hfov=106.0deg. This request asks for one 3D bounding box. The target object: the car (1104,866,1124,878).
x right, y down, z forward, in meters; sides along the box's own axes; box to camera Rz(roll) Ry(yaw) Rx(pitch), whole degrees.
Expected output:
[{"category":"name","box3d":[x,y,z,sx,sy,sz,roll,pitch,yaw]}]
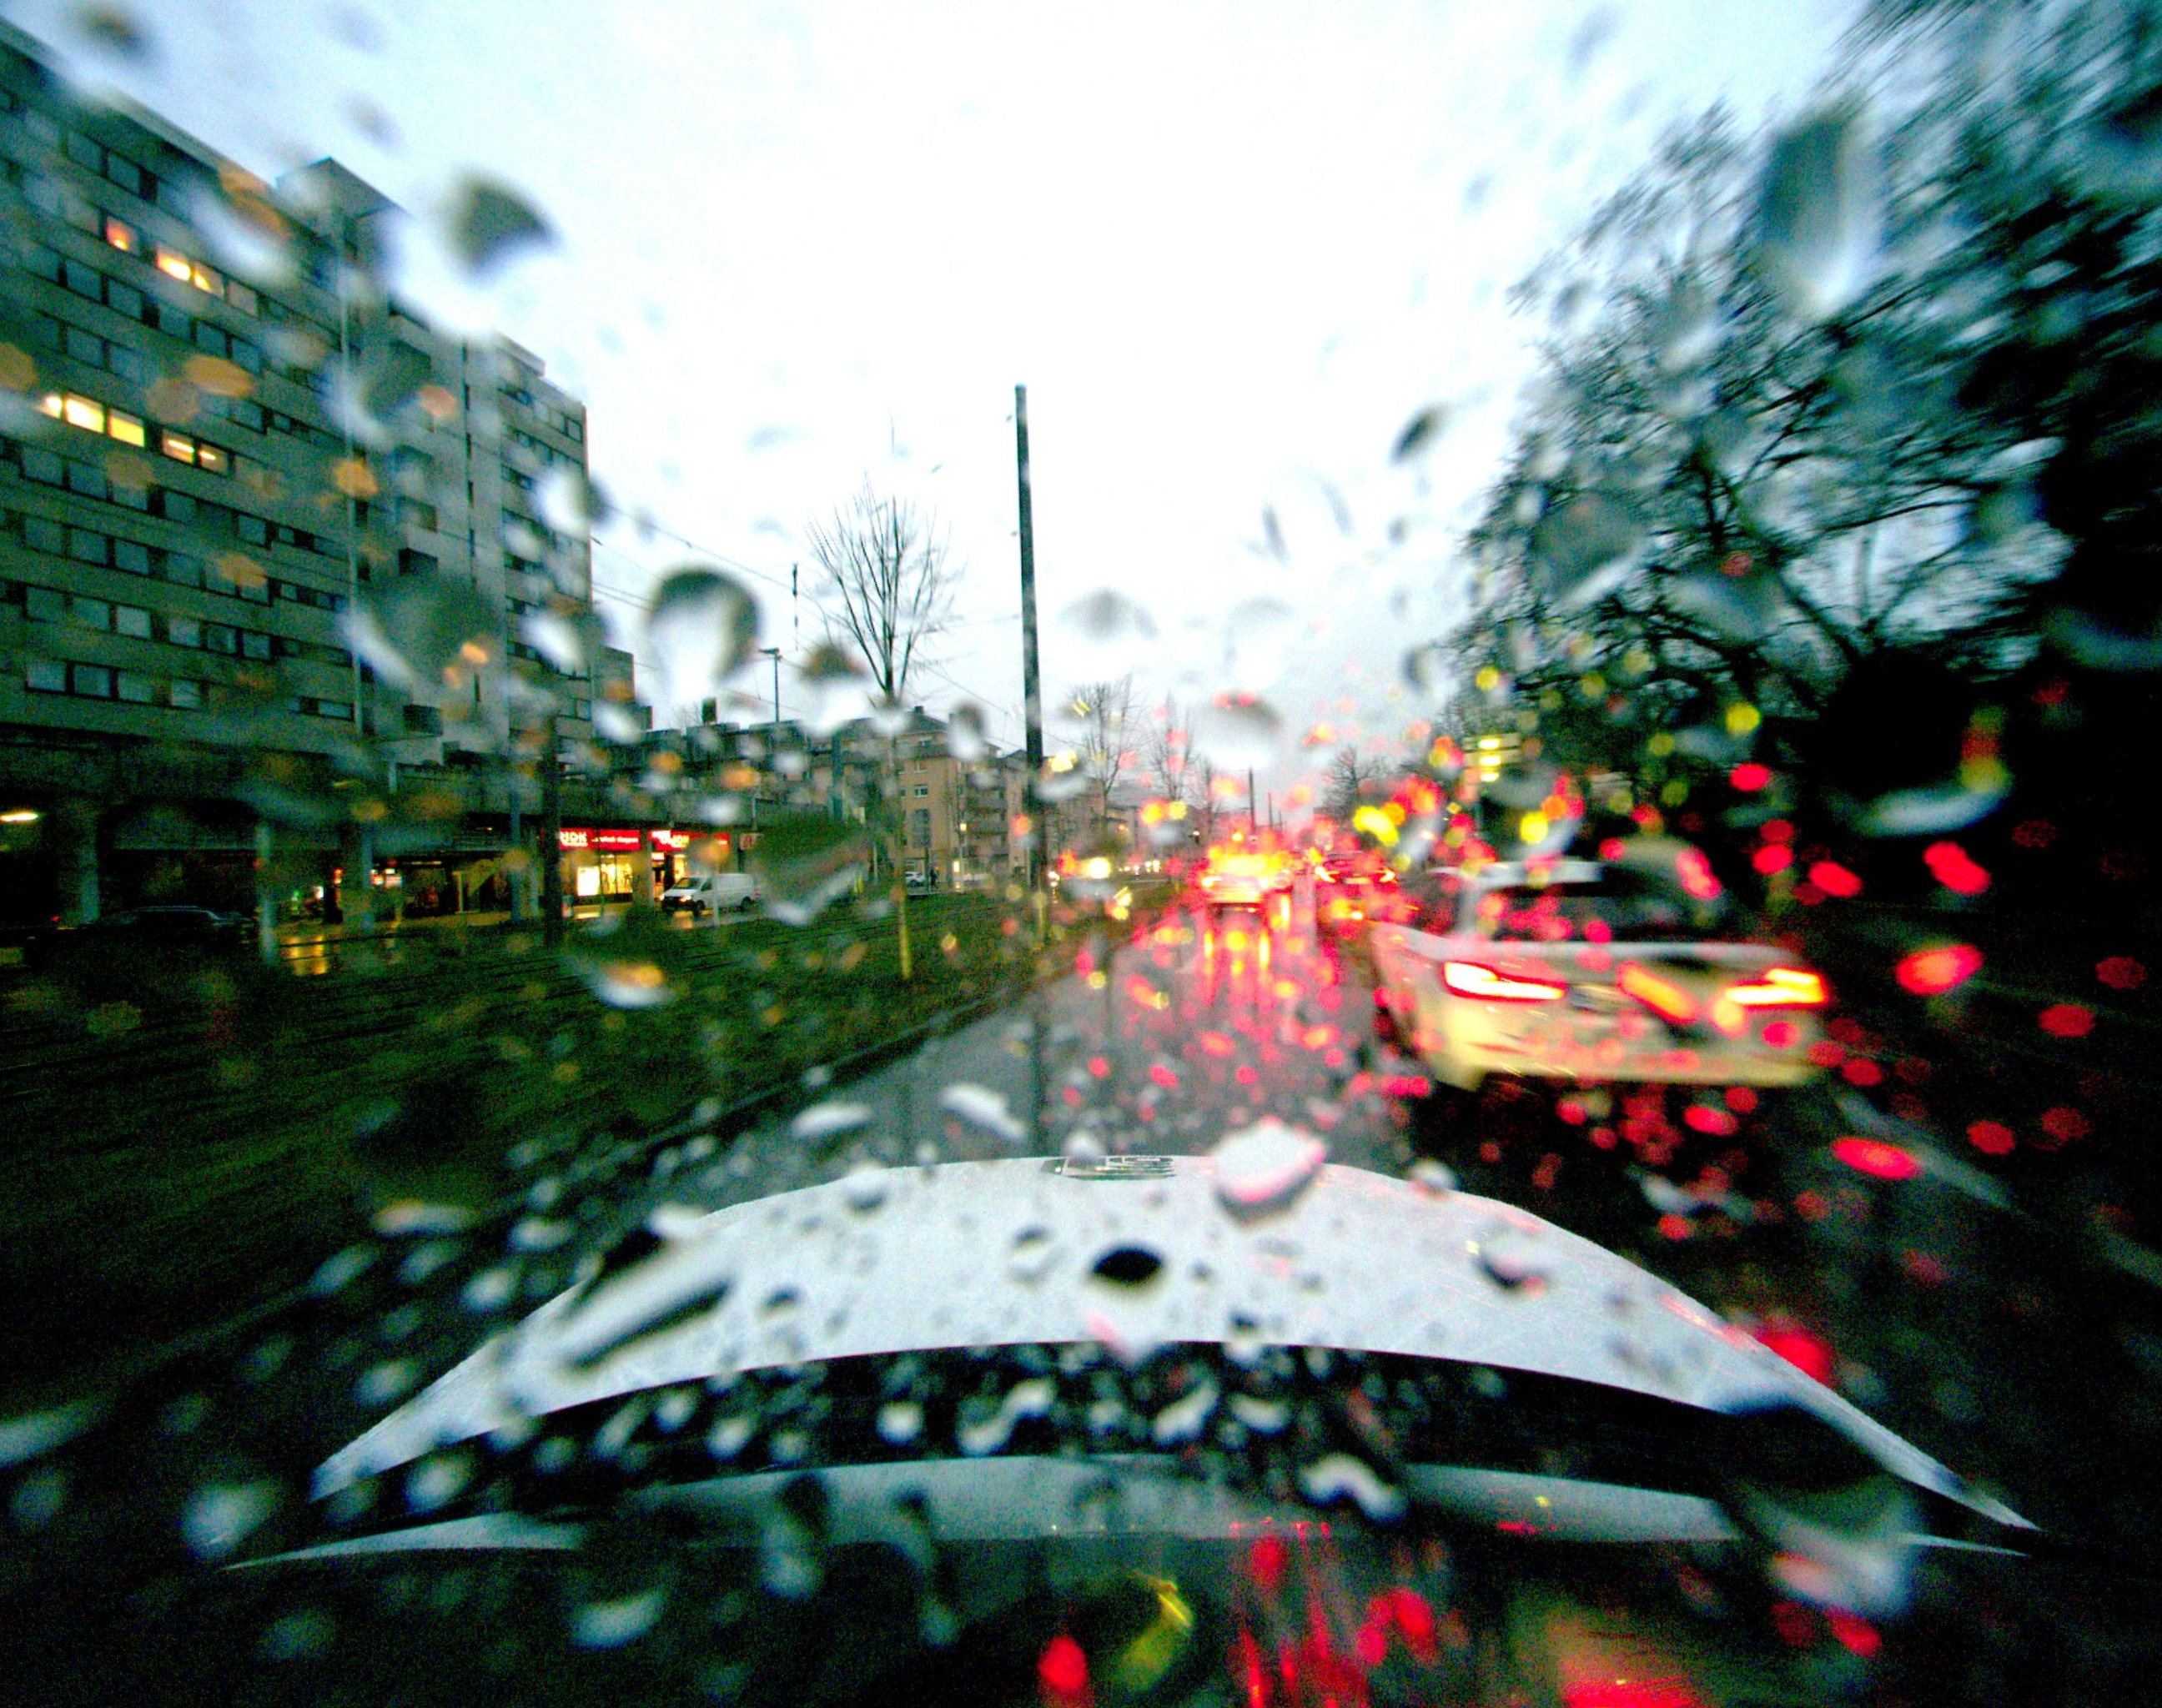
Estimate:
[{"category":"car","box3d":[3.938,2.088,96.637,1.680,1.277,4.160,-2,-1,10]}]

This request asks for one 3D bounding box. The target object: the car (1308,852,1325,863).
[{"category":"car","box3d":[28.630,0.479,99.124,1.915,1.288,4.017,-1,0,17]}]

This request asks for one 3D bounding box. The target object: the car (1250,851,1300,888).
[{"category":"car","box3d":[8.489,0.624,35.337,1.785,1.466,4.605,-3,-1,16]}]

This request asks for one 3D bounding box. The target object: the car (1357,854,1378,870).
[{"category":"car","box3d":[28.695,0.808,81.573,1.724,1.419,3.719,-3,-1,16]}]

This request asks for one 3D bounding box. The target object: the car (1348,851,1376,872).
[{"category":"car","box3d":[20.800,0.554,60.369,1.724,1.419,3.719,-3,-1,16]}]

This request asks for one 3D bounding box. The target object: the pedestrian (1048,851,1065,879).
[{"category":"pedestrian","box3d":[-1.813,0.781,59.827,1.004,2.014,0.959,-2,-1,-9]}]

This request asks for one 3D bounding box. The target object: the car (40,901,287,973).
[{"category":"car","box3d":[-25.410,2.245,22.762,4.137,1.693,1.974,0,-1,-16]}]

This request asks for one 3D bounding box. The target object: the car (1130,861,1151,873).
[{"category":"car","box3d":[7.836,1.681,107.768,1.935,1.602,4.017,-1,-1,17]}]

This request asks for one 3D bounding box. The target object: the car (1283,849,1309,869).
[{"category":"car","box3d":[16.566,0.338,62.701,1.724,1.419,4.413,-3,-1,16]}]

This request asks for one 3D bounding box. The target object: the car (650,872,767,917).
[{"category":"car","box3d":[-18.725,1.981,41.327,1.976,2.046,5.594,-1,-1,21]}]

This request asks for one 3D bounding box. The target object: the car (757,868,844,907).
[{"category":"car","box3d":[-17.363,2.034,50.426,4.845,2.244,1.981,0,-1,-30]}]

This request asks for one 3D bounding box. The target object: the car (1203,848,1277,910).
[{"category":"car","box3d":[4.419,0.624,22.217,1.680,1.533,4.016,-1,0,15]}]

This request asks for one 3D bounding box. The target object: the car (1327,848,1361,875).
[{"category":"car","box3d":[15.203,0.404,47.255,1.724,1.419,3.719,-3,-1,16]}]

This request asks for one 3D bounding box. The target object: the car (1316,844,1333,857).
[{"category":"car","box3d":[28.042,-0.422,93.769,1.724,1.419,4.164,-3,-1,16]}]

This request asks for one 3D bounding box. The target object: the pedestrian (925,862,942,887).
[{"category":"pedestrian","box3d":[-12.257,1.699,67.638,1.268,2.014,1.005,-2,-1,-8]}]

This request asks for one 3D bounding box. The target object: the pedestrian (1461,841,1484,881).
[{"category":"pedestrian","box3d":[20.413,0.367,42.522,0.950,2.014,1.013,-3,-1,22]}]

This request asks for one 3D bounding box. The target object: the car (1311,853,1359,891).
[{"category":"car","box3d":[10.212,0.698,32.775,1.732,1.433,3.748,-1,0,17]}]

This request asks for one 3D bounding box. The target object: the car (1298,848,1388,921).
[{"category":"car","box3d":[6.154,0.662,19.322,1.786,1.511,3.912,-2,-1,16]}]

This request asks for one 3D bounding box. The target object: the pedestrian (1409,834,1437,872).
[{"category":"pedestrian","box3d":[19.053,-0.051,45.396,0.957,2.014,1.005,-2,-1,-6]}]

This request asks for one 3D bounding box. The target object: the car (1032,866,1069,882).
[{"category":"car","box3d":[-2.504,1.672,68.730,1.845,1.332,4.334,-1,0,16]}]

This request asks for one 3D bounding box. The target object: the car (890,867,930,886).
[{"category":"car","box3d":[-18.281,2.429,86.923,3.726,1.942,1.847,-1,-1,8]}]

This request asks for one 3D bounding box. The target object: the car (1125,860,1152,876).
[{"category":"car","box3d":[5.758,1.369,81.332,1.979,1.602,4.016,-1,0,15]}]

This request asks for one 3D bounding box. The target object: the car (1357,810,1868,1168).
[{"category":"car","box3d":[3.203,0.618,6.179,1.848,1.556,4.959,-3,-1,16]}]
